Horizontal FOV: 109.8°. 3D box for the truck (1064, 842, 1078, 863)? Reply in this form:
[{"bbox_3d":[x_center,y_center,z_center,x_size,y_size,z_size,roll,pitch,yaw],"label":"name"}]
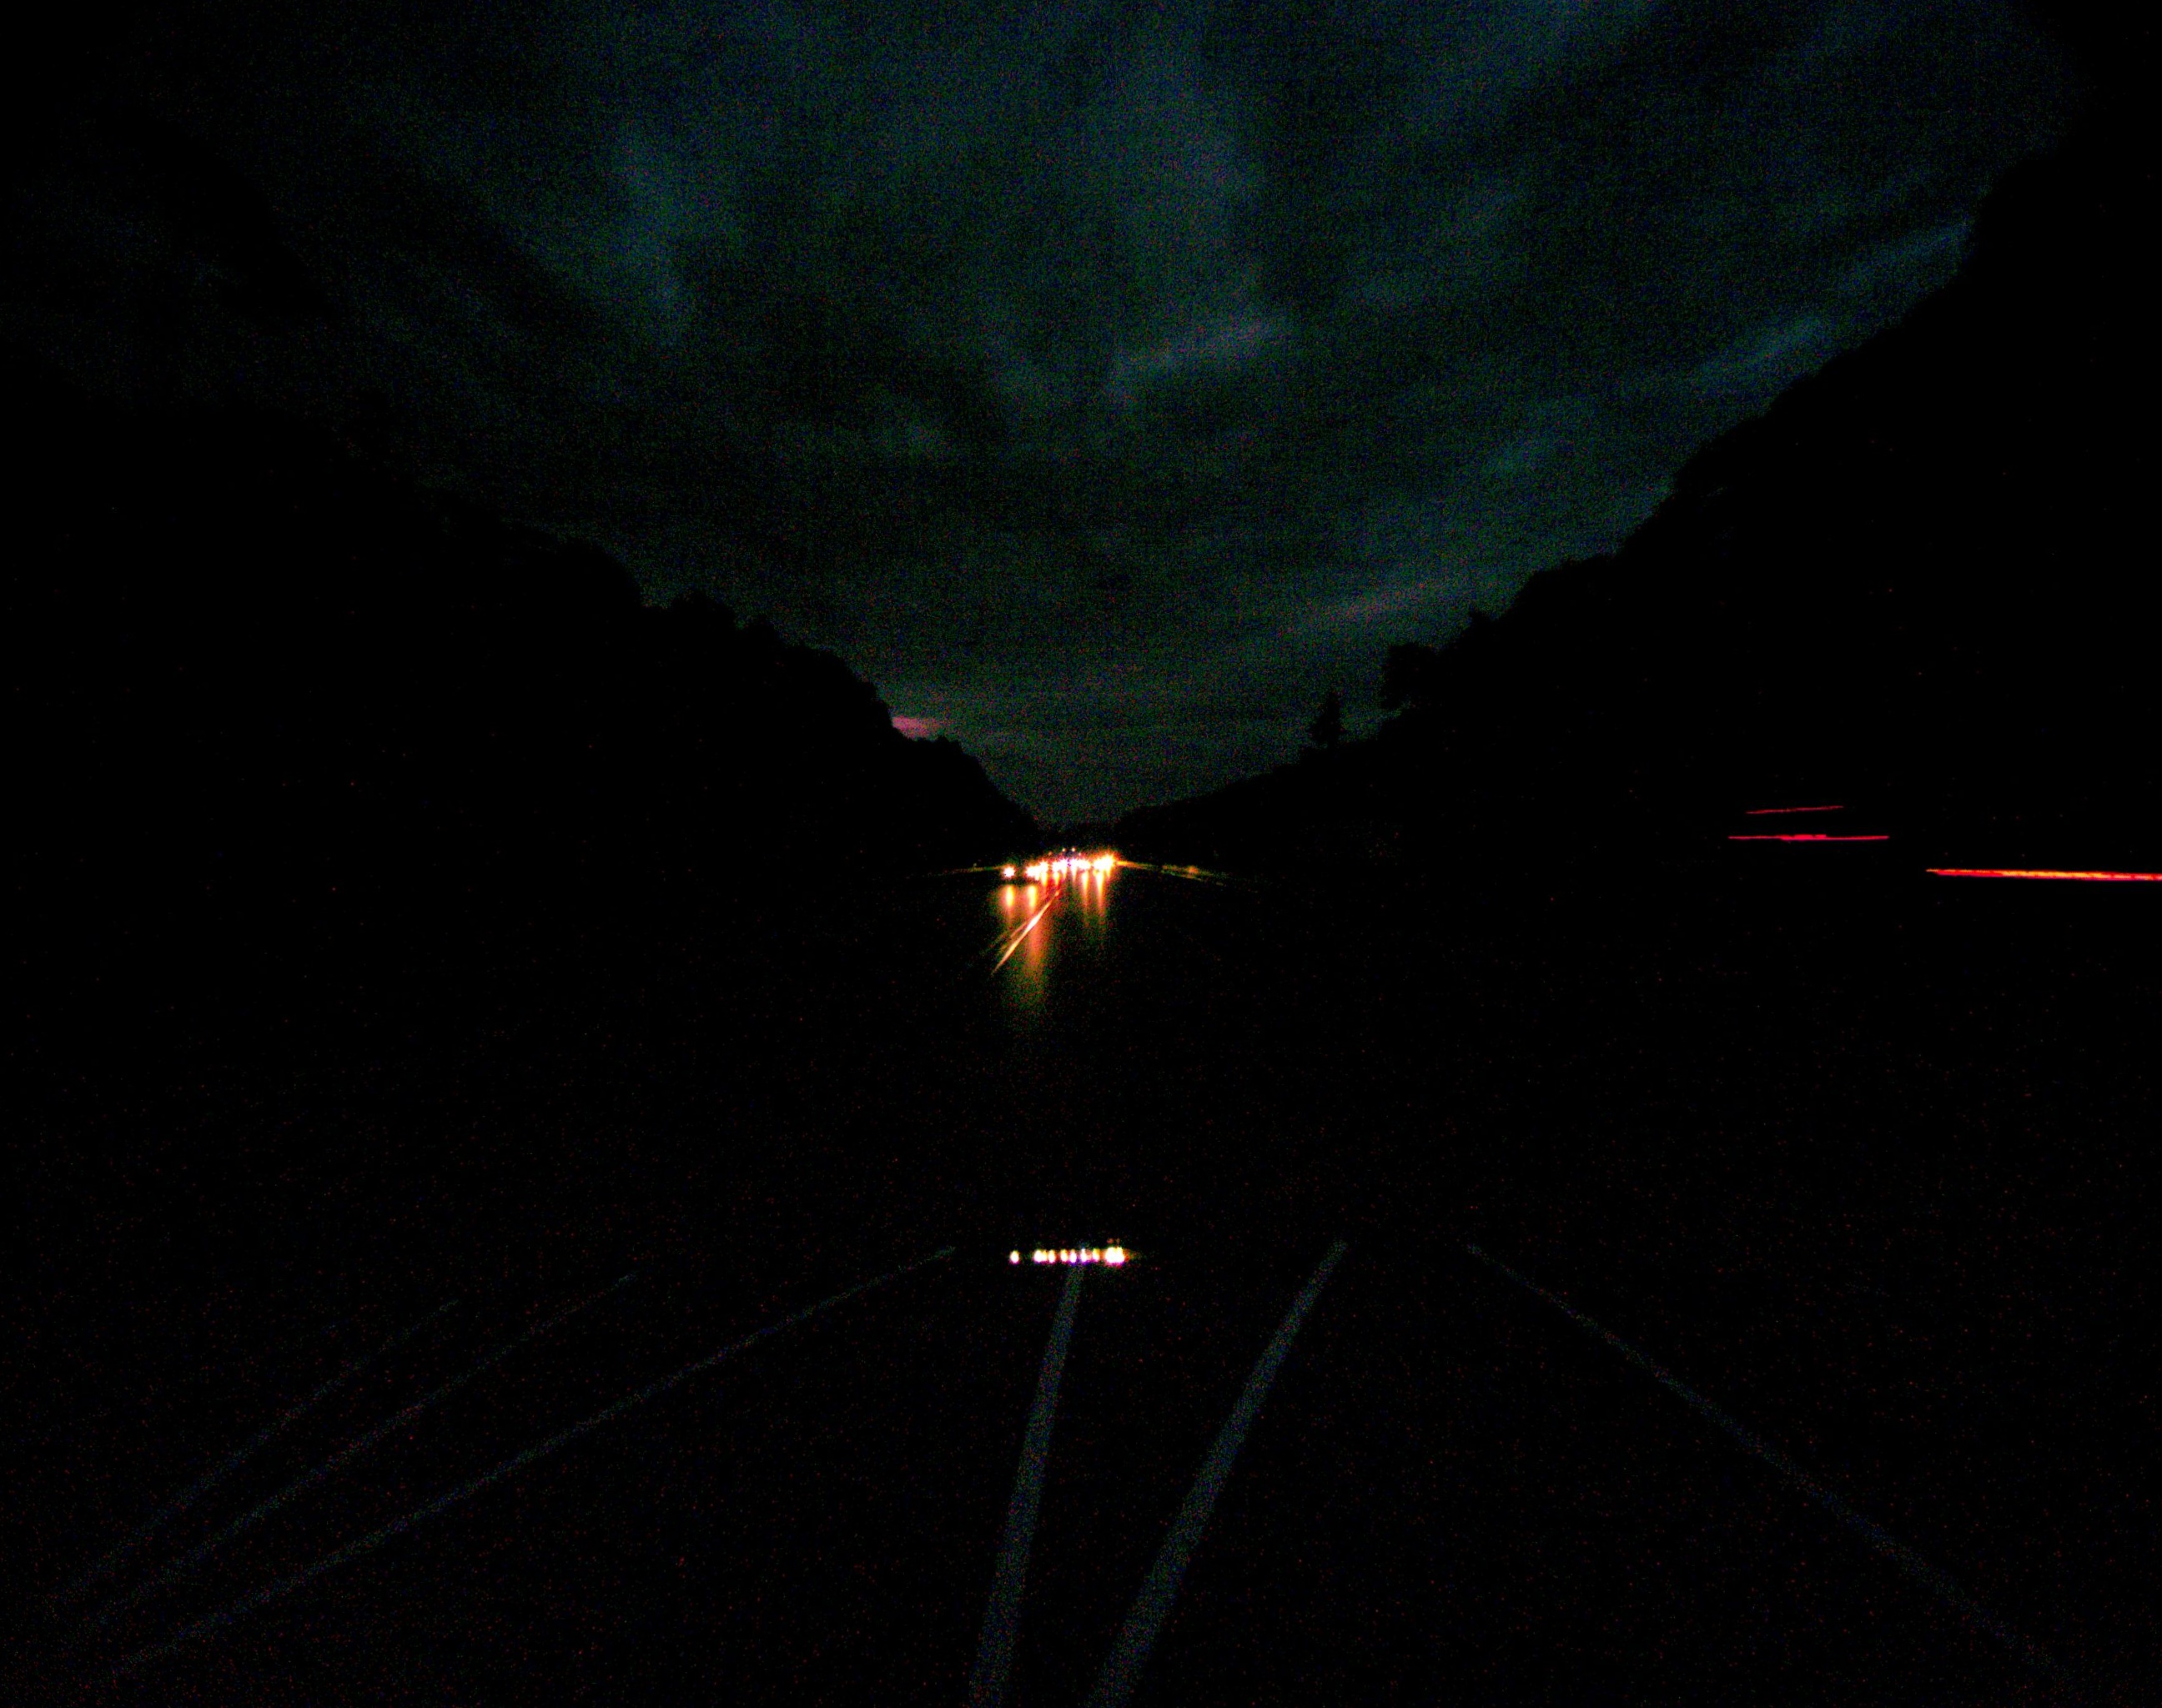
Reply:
[{"bbox_3d":[-1.855,-0.307,148.607,2.498,3.945,5.589,-2,1,0],"label":"truck"}]

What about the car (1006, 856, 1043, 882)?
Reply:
[{"bbox_3d":[-3.414,0.883,46.359,1.870,1.427,4.583,-3,0,0],"label":"car"}]

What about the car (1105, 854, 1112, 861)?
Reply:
[{"bbox_3d":[6.430,0.730,177.790,1.695,1.481,4.949,-1,1,1],"label":"car"}]

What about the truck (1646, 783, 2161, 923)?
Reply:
[{"bbox_3d":[18.705,-0.030,18.808,2.467,2.495,9.755,-2,0,2],"label":"truck"}]

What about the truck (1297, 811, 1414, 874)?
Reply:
[{"bbox_3d":[19.536,-0.749,55.680,3.365,3.980,14.496,-1,0,0],"label":"truck"}]

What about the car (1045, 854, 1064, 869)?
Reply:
[{"bbox_3d":[-2.850,0.816,82.347,1.695,1.481,4.949,-1,0,1],"label":"car"}]

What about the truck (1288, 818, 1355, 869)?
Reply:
[{"bbox_3d":[19.635,-0.812,62.500,3.389,3.980,6.879,-1,0,0],"label":"truck"}]

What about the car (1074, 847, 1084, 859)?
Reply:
[{"bbox_3d":[-0.623,-0.220,238.241,2.998,3.659,10.000,-1,0,1],"label":"car"}]

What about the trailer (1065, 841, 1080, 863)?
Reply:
[{"bbox_3d":[-1.707,-0.480,155.864,2.489,4.050,13.503,-2,1,2],"label":"trailer"}]

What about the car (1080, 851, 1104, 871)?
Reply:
[{"bbox_3d":[1.050,0.632,70.858,1.869,1.701,4.585,-3,0,5],"label":"car"}]
